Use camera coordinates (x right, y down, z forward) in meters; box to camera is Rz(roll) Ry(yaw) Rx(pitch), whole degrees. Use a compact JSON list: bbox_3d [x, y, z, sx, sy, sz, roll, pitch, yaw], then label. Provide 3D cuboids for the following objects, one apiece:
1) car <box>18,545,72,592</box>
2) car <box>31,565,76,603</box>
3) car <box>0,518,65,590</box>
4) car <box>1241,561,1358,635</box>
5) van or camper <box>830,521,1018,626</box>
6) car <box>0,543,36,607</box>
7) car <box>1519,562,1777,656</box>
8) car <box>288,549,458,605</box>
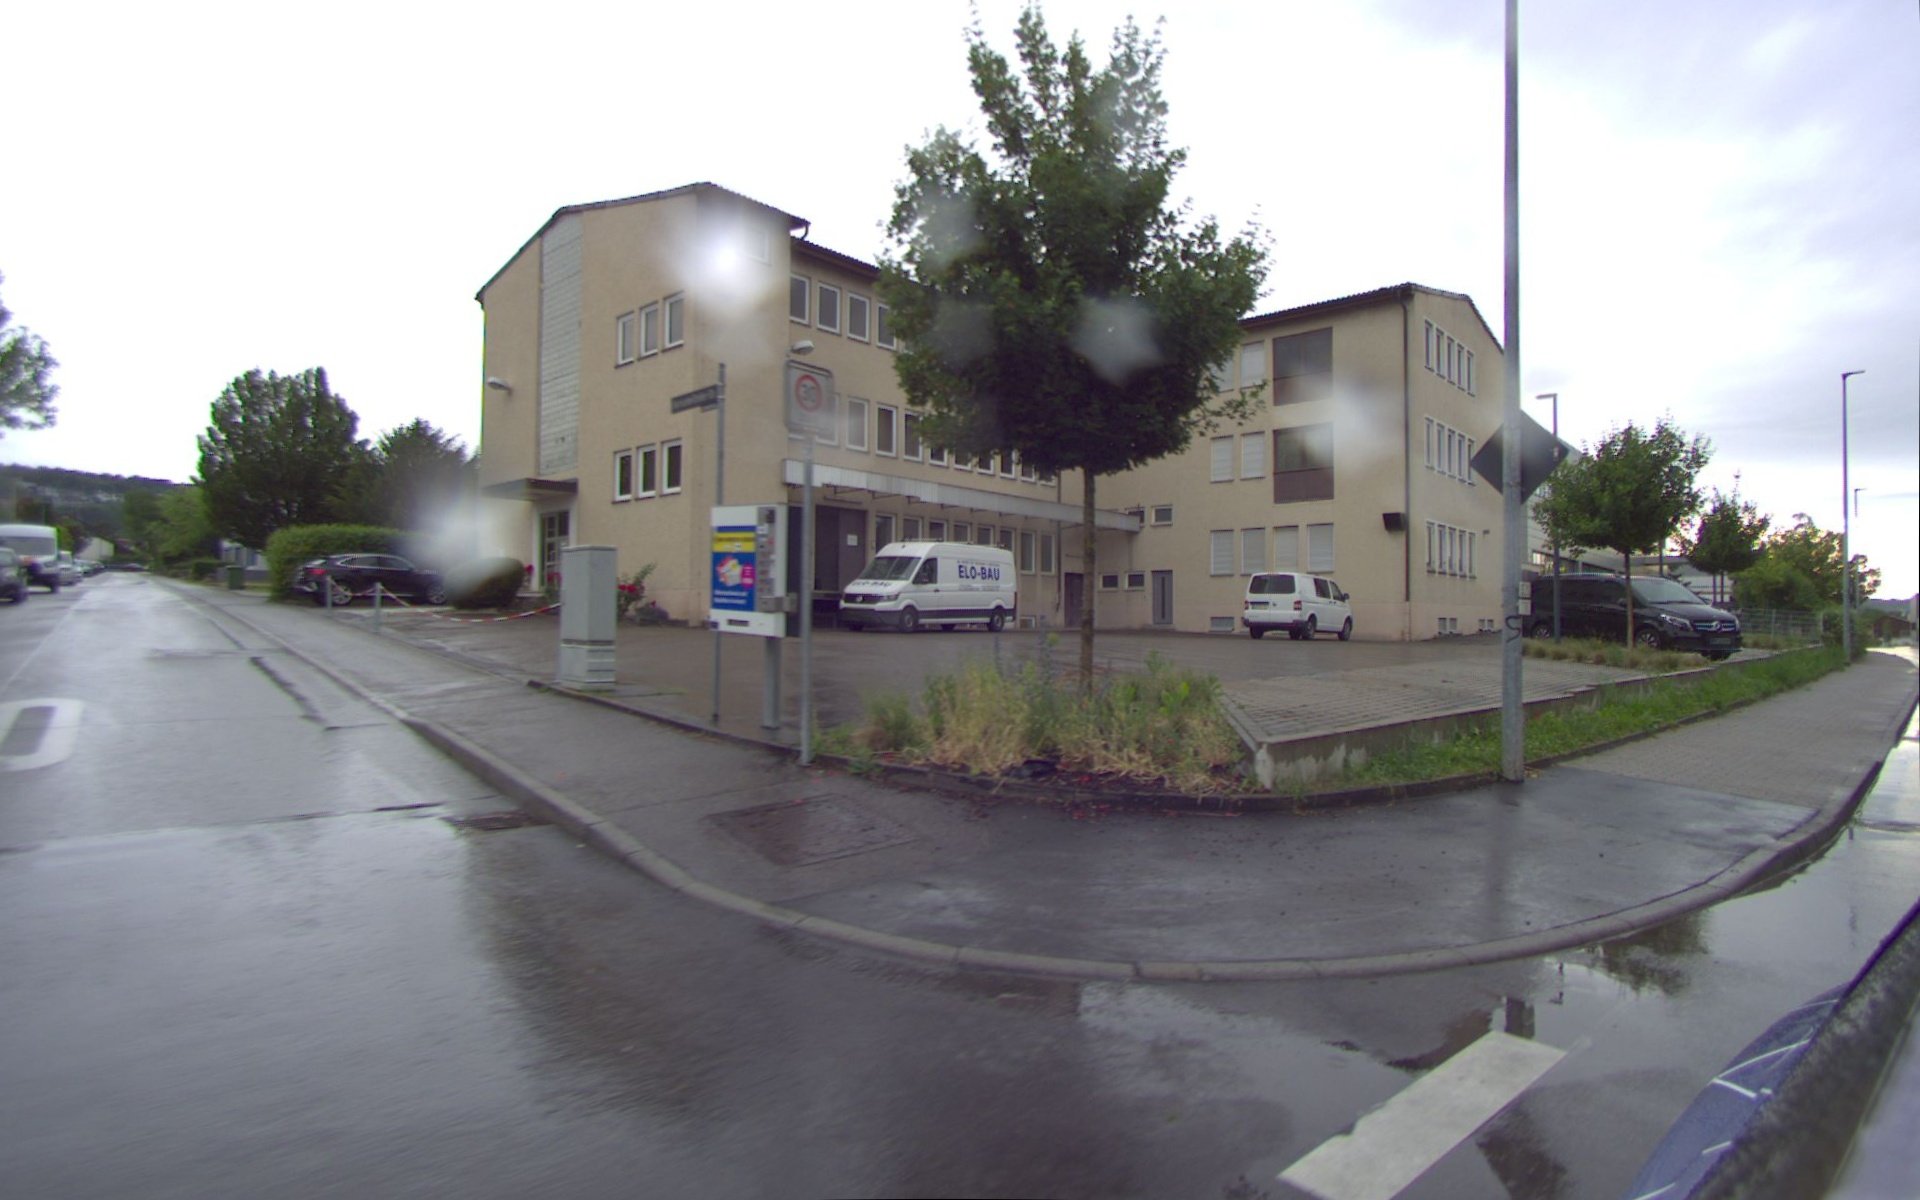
[{"bbox_3d":[-50.697,-1.691,56.028,1.952,2.297,3.987,3,-4,-45],"label":"car"},{"bbox_3d":[-60.531,-1.039,67.561,1.952,2.297,3.987,3,-4,-45],"label":"car"},{"bbox_3d":[-34.305,-1.626,37.067,1.952,2.297,3.987,3,-4,-45],"label":"car"},{"bbox_3d":[10.429,0.030,30.906,1.791,2.040,4.531,-2,-4,41],"label":"car"},{"bbox_3d":[-0.820,-0.583,28.962,1.986,2.570,6.522,-2,-3,33],"label":"van or camper"},{"bbox_3d":[-27.040,-0.675,28.091,1.850,1.572,3.987,3,-4,-45],"label":"car"},{"bbox_3d":[15.808,0.160,23.689,2.011,1.943,5.124,1,1,-9],"label":"car"},{"bbox_3d":[-17.701,-0.645,30.628,4.159,1.399,1.699,3,-4,-42],"label":"car"}]
